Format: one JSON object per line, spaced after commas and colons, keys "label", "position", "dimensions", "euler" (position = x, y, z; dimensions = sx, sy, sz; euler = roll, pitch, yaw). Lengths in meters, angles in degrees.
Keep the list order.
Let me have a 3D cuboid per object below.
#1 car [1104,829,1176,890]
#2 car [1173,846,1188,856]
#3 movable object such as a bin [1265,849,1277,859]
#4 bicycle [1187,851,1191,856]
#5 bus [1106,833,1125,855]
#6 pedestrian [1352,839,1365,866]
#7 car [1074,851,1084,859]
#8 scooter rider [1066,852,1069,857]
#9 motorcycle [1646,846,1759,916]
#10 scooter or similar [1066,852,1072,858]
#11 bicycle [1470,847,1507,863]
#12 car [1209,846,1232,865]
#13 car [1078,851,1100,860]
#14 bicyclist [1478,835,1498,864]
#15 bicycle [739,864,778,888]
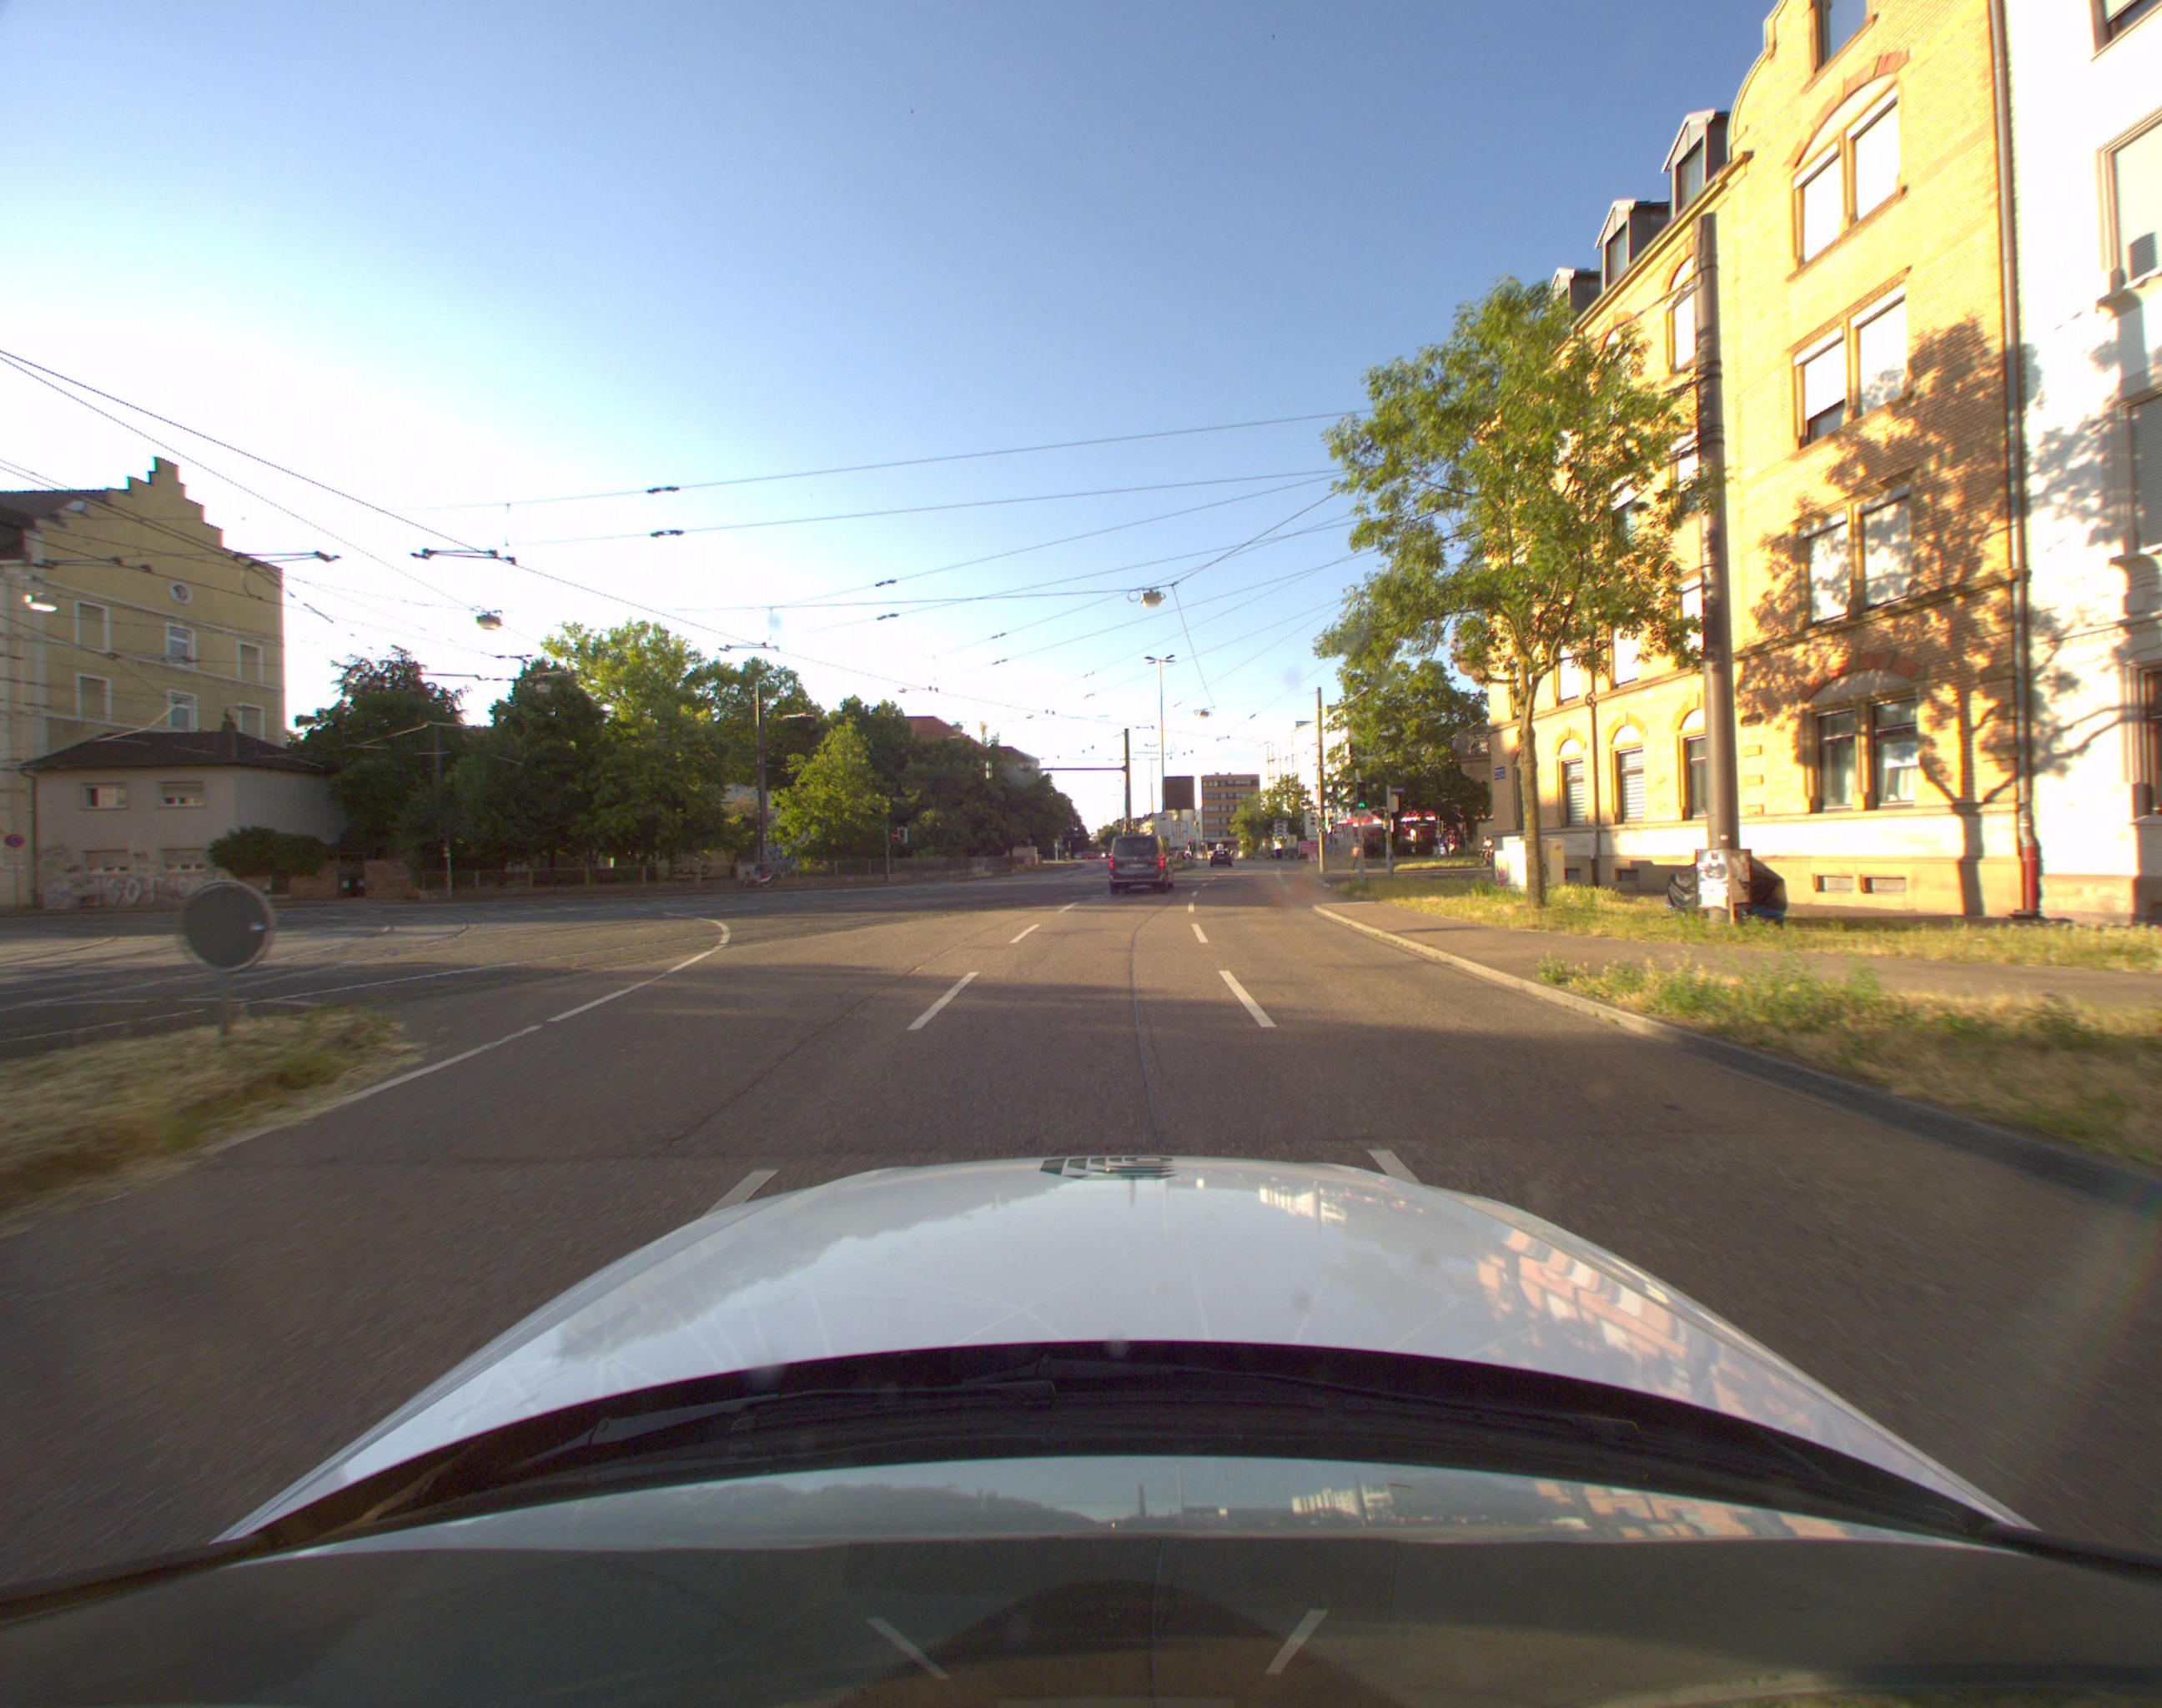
{"label": "car", "position": [2.118, 0.165, 27.972], "dimensions": [1.981, 1.900, 4.312], "euler": [0, 0, 11]}
{"label": "car", "position": [16.482, -0.508, 134.641], "dimensions": [1.987, 1.656, 4.299], "euler": [-2, 0, 1]}
{"label": "movable object such as a bin", "position": [26.410, 0.008, 112.953], "dimensions": [1.454, 1.386, 1.550], "euler": [-2, 0, 8]}
{"label": "bicycle", "position": [18.520, -0.139, 139.697], "dimensions": [0.531, 0.847, 1.683], "euler": [-2, 0, 0]}
{"label": "bus", "position": [7.659, -2.197, 181.675], "dimensions": [3.283, 4.617, 9.986], "euler": [0, 0, -4]}
{"label": "pedestrian", "position": [16.899, -0.116, 49.598], "dimensions": [0.549, 1.628, 0.701], "euler": [-2, 0, 8]}
{"label": "car", "position": [-0.453, 0.257, 186.345], "dimensions": [1.983, 1.595, 4.007], "euler": [-2, 0, 6]}
{"label": "scooter rider", "position": [-2.374, 0.081, 146.296], "dimensions": [0.509, 1.036, 0.444], "euler": [0, 0, -12]}
{"label": "motorcycle", "position": [9.914, 0.399, 13.071], "dimensions": [0.601, 1.044, 1.747], "euler": [-2, 0, 6]}
{"label": "scooter or similar", "position": [-2.148, 0.190, 146.333], "dimensions": [1.099, 0.976, 0.557], "euler": [0, 0, -11]}
{"label": "bicycle", "position": [22.807, 0.070, 45.565], "dimensions": [1.809, 0.829, 0.620], "euler": [-2, 0, -10]}
{"label": "car", "position": [11.582, 0.094, 67.757], "dimensions": [1.835, 1.544, 3.640], "euler": [-2, 0, 9]}
{"label": "car", "position": [1.525, 0.261, 163.852], "dimensions": [3.999, 1.595, 1.987], "euler": [-2, 0, -19]}
{"label": "bicyclist", "position": [22.767, -0.258, 45.574], "dimensions": [0.693, 1.583, 0.635], "euler": [-2, 0, -10]}
{"label": "bicycle", "position": [-16.469, 1.107, 41.654], "dimensions": [1.732, 1.142, 0.552], "euler": [-2, 0, -43]}
